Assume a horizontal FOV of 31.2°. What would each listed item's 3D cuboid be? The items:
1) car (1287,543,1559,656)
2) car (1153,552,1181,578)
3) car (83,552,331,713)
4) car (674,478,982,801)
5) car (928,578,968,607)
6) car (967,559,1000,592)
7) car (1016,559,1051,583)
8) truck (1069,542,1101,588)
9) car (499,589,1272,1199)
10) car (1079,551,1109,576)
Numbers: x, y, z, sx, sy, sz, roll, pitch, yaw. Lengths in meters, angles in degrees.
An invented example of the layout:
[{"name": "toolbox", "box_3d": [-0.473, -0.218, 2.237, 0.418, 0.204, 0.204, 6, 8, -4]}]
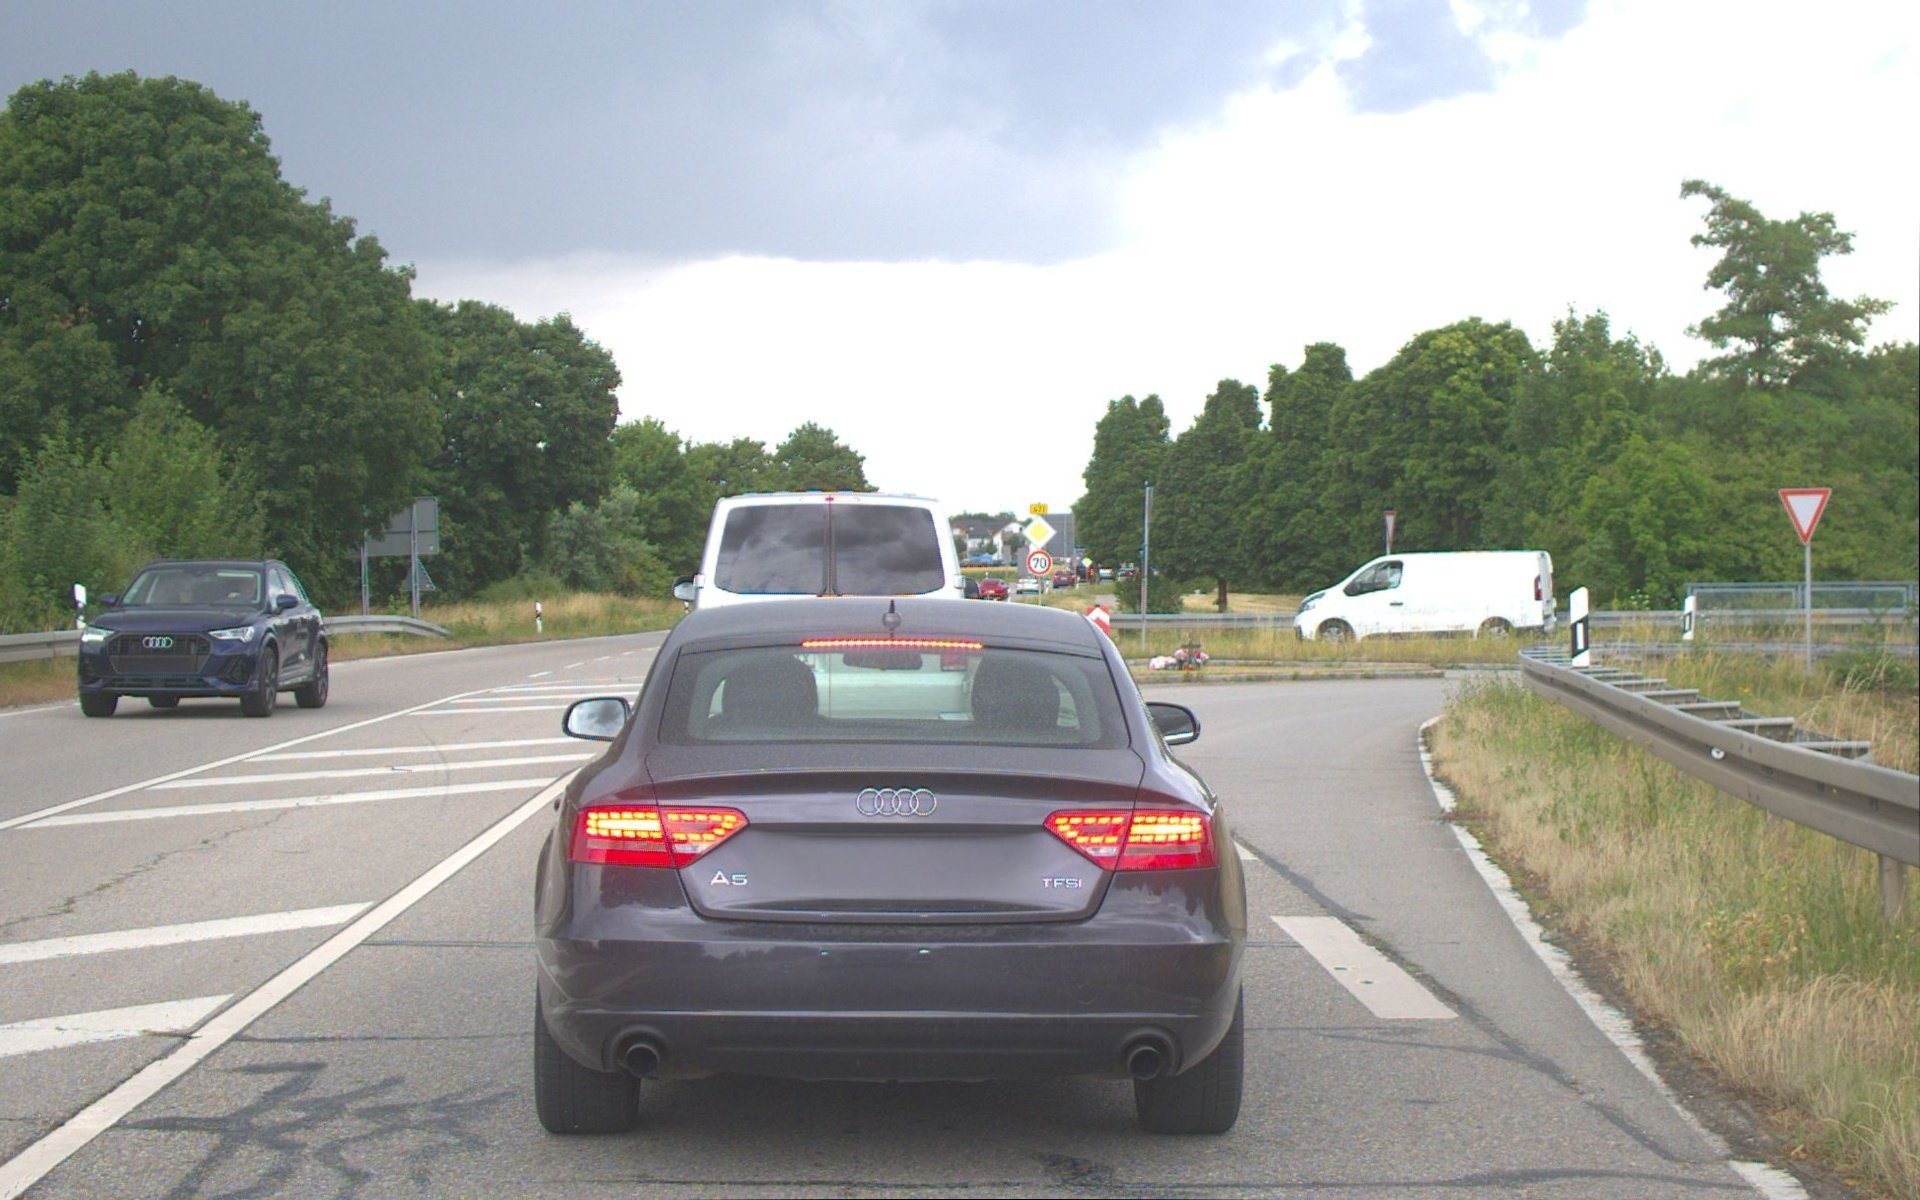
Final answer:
[{"name": "car", "box_3d": [8.887, -0.034, 65.930, 4.864, 2.057, 2.086, 1, 1, 17]}, {"name": "car", "box_3d": [14.317, -2.425, 237.663, 1.876, 1.686, 4.000, 1, 1, 4]}, {"name": "car", "box_3d": [-7.653, 0.284, 35.299, 1.709, 1.513, 4.210, 1, 1, -1]}, {"name": "car", "box_3d": [-0.894, 0.211, 23.559, 1.910, 2.007, 4.000, 1, 1, -2]}, {"name": "car", "box_3d": [-0.570, -0.357, 166.671, 1.523, 1.394, 3.182, 0, -1, 7]}, {"name": "car", "box_3d": [1.488, -1.570, 216.347, 1.993, 2.007, 4.000, 1, 1, 1]}, {"name": "car", "box_3d": [5.060, -2.037, 237.657, 2.205, 1.577, 4.379, 1, 1, -2]}, {"name": "truck", "box_3d": [8.217, -2.321, 226.576, 1.993, 2.908, 5.793, 1, 1, 1]}, {"name": "car", "box_3d": [-0.233, 0.685, 9.599, 1.779, 1.394, 3.337, 0, 1, -2]}, {"name": "car", "box_3d": [9.544, -2.620, 244.916, 1.993, 1.686, 4.000, 1, 1, 1]}]
